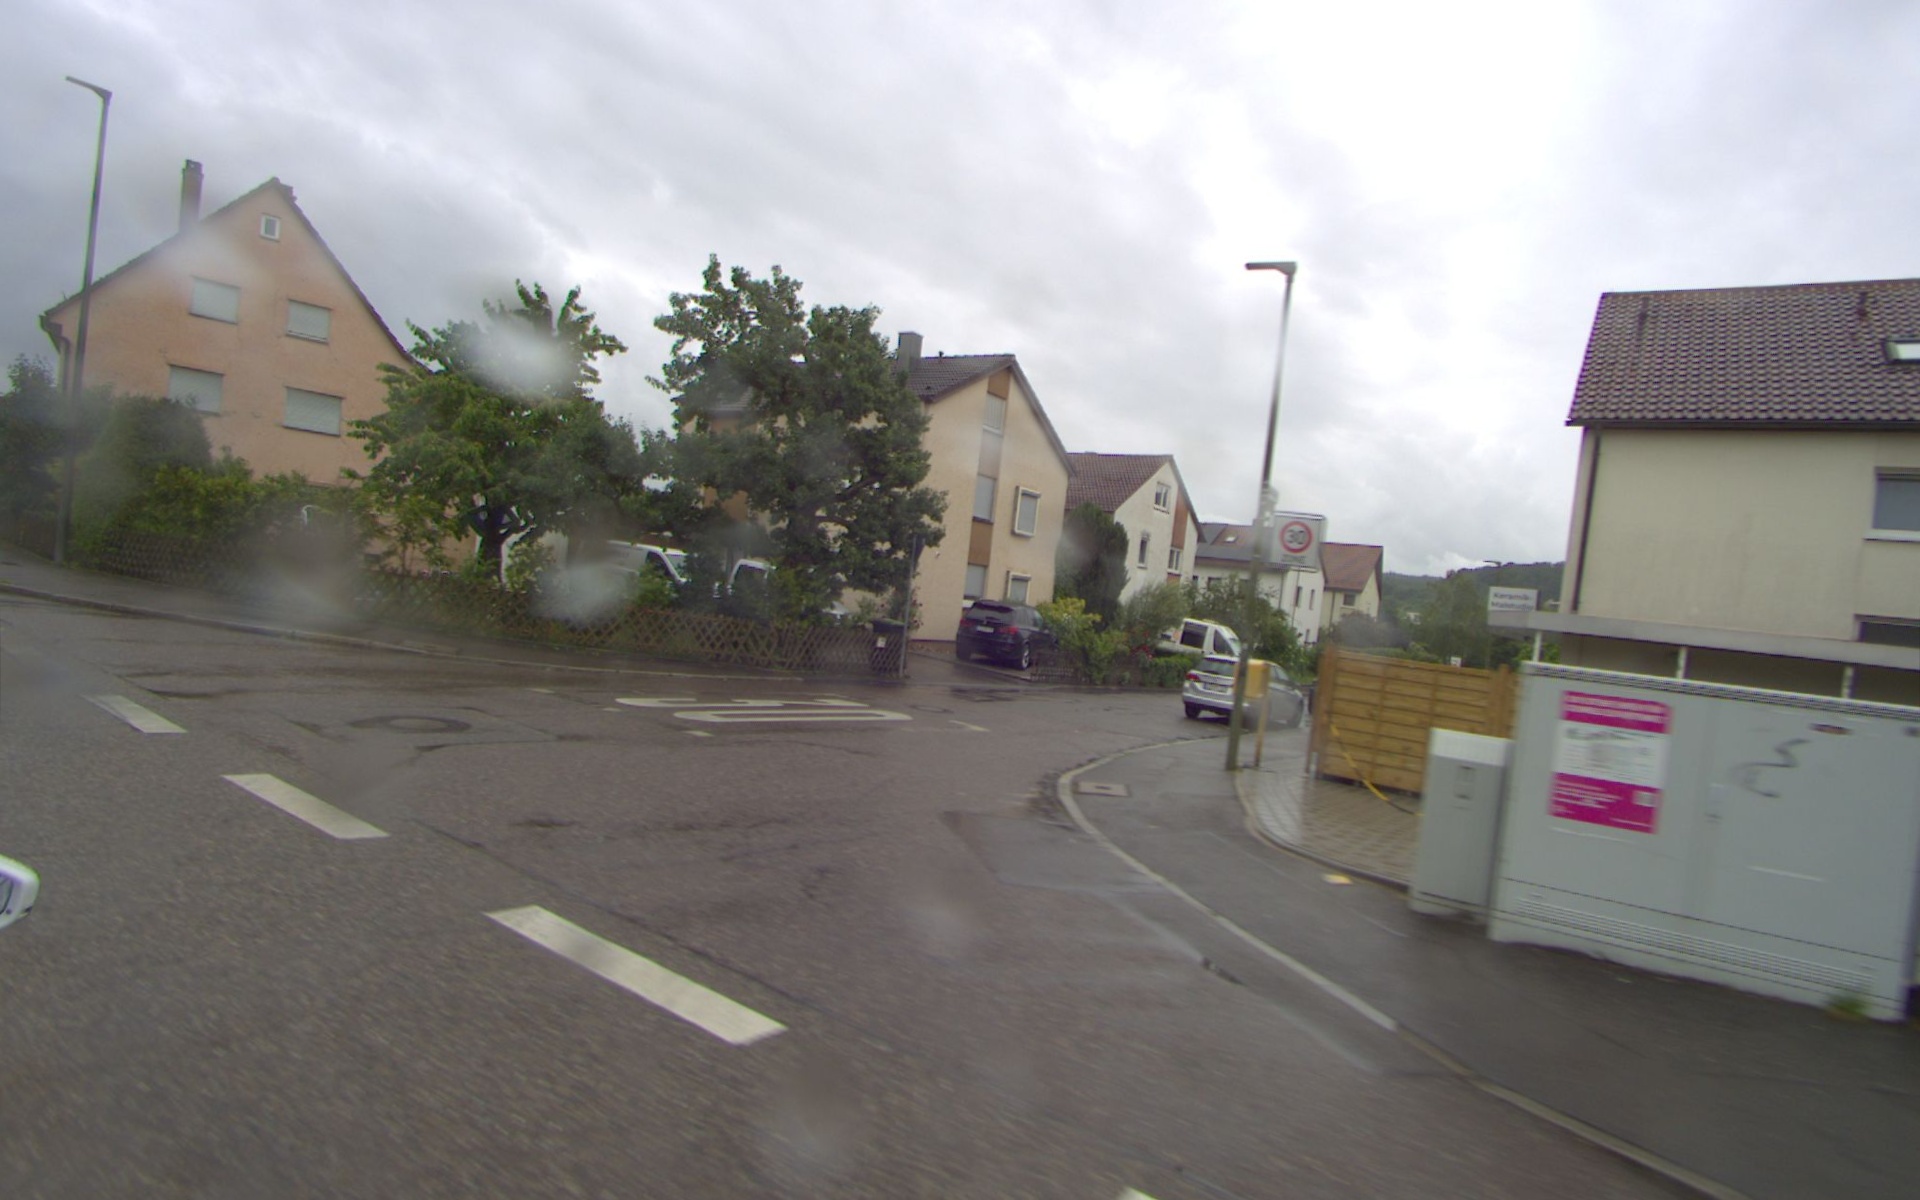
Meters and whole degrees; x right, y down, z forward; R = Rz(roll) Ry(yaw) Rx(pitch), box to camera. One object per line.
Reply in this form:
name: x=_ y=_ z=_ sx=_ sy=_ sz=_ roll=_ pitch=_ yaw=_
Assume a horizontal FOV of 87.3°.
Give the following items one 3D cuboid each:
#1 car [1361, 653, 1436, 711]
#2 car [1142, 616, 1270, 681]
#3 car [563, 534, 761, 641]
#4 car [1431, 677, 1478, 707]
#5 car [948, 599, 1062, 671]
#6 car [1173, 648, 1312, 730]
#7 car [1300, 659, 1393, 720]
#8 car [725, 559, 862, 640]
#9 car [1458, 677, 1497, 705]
car: x=17.305 y=3.202 z=39.571 sx=1.814 sy=1.930 sz=4.610 roll=7 pitch=0 yaw=33
car: x=10.475 y=2.060 z=42.971 sx=4.755 sy=2.078 sz=1.948 roll=7 pitch=0 yaw=31
car: x=-7.894 y=-0.362 z=26.444 sx=5.100 sy=2.109 sz=1.948 roll=8 pitch=0 yaw=33
car: x=27.185 y=5.024 z=55.287 sx=1.814 sy=1.370 sz=3.570 roll=7 pitch=0 yaw=33
car: x=1.365 y=0.959 z=28.664 sx=1.859 sy=1.692 sz=3.995 roll=7 pitch=2 yaw=22
car: x=6.442 y=1.962 z=22.675 sx=1.791 sy=1.473 sz=3.989 roll=7 pitch=0 yaw=33
car: x=12.099 y=2.750 z=31.357 sx=1.791 sy=1.575 sz=3.989 roll=7 pitch=0 yaw=33
car: x=-4.830 y=-0.038 z=28.993 sx=3.583 sy=1.840 sz=1.657 roll=7 pitch=0 yaw=35
car: x=30.637 y=5.334 z=59.491 sx=1.573 sy=1.370 sz=3.570 roll=7 pitch=0 yaw=33
